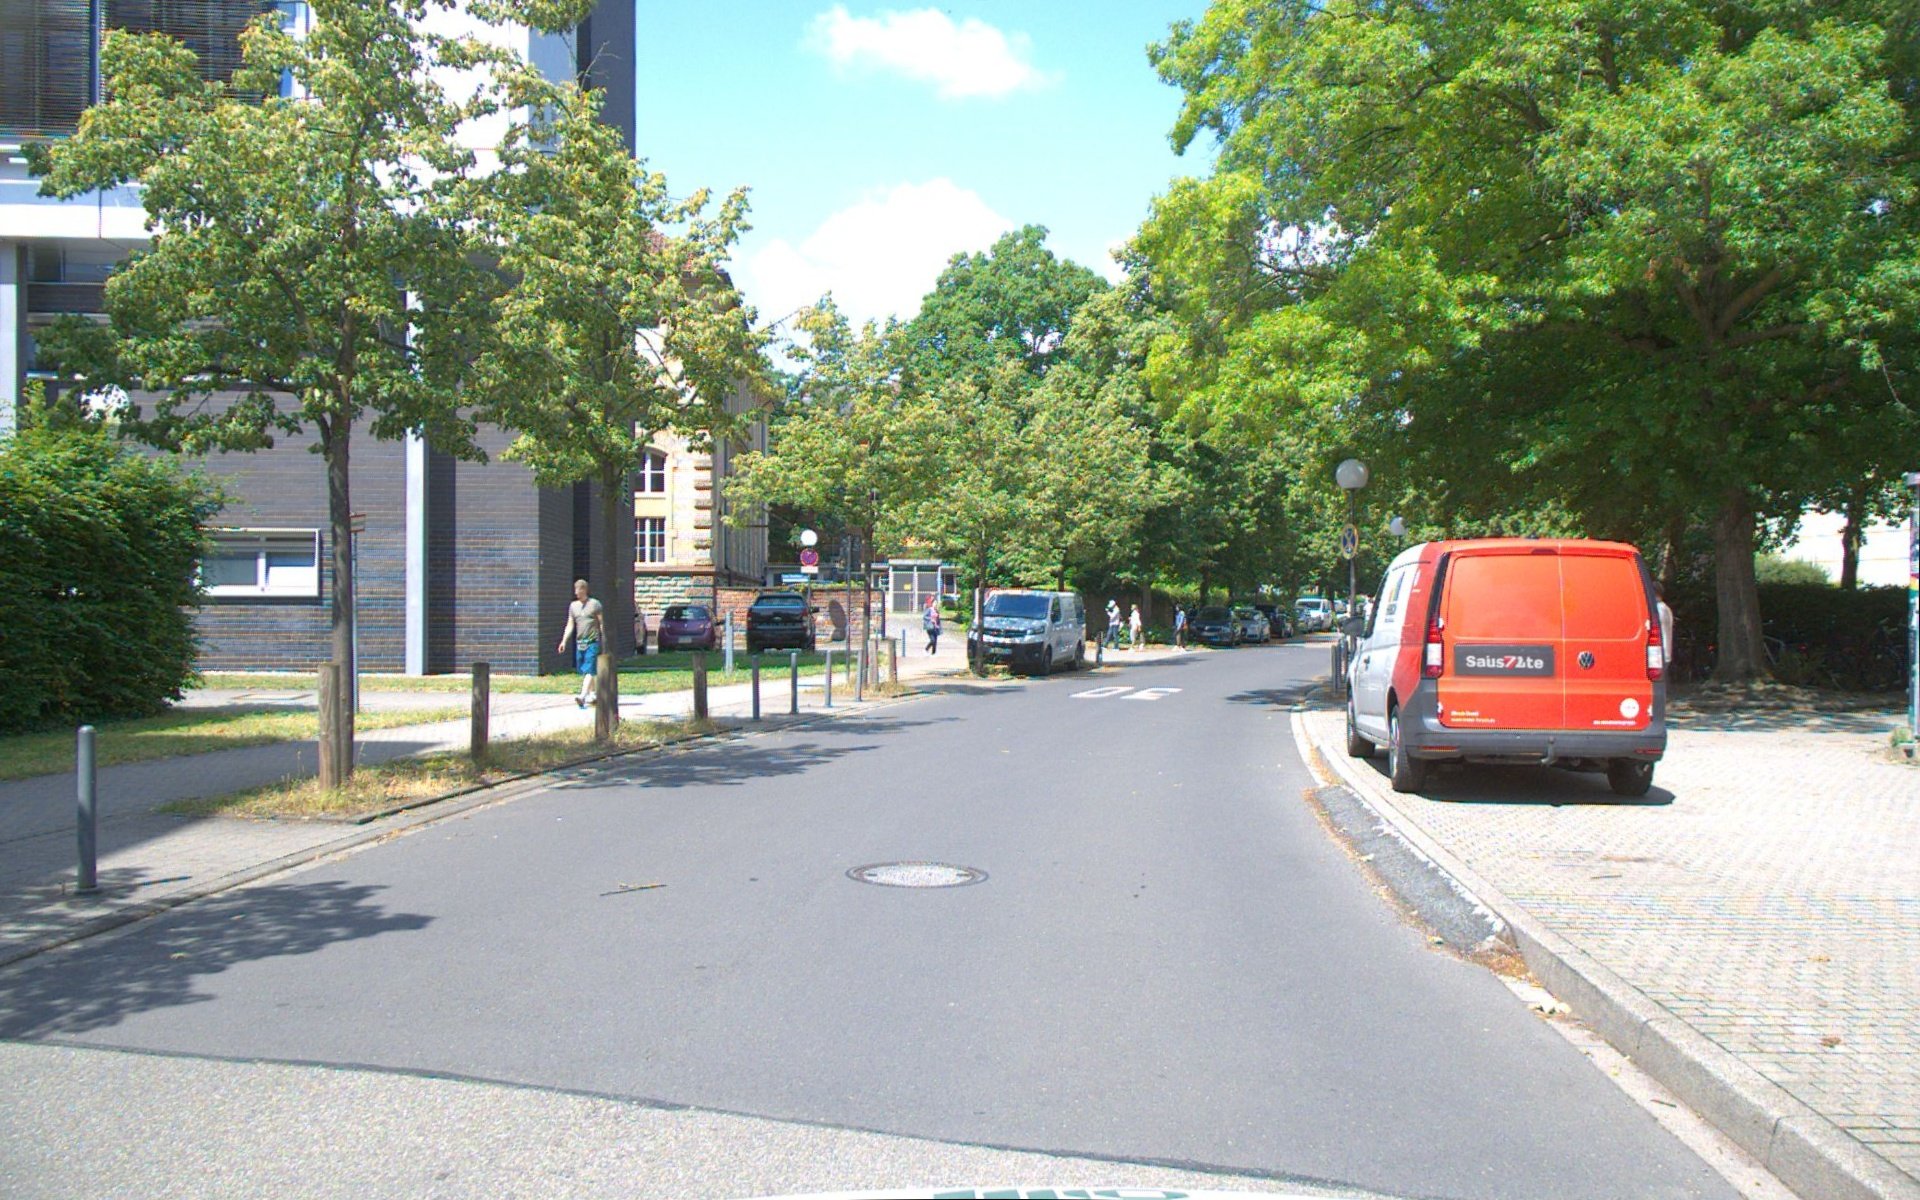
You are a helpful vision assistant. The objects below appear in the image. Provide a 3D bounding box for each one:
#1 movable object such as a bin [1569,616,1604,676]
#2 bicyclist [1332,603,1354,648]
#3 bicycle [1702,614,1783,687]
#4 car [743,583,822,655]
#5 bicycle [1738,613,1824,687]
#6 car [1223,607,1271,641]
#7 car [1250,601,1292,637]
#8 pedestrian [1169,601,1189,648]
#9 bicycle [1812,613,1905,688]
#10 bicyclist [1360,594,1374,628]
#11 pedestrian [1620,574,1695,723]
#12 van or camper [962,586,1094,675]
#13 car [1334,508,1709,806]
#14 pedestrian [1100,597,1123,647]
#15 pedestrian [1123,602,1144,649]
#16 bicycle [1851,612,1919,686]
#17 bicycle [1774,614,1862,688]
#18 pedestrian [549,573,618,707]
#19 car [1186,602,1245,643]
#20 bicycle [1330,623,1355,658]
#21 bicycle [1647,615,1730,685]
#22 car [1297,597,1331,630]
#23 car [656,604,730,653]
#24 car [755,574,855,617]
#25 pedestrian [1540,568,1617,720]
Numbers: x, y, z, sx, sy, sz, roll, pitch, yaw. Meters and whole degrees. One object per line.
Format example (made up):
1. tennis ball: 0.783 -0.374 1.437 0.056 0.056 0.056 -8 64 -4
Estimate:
1. movable object such as a bin: 11.607 0.853 30.637 0.479 1.091 0.505 0 0 4
2. bicyclist: 11.309 0.744 48.843 0.596 1.318 0.611 0 0 17
3. bicycle: 12.734 0.802 26.967 0.488 1.138 1.872 0 0 2
4. car: -5.080 0.522 47.609 2.133 1.959 5.180 0 0 -5
5. bicycle: 13.240 0.783 26.732 0.488 1.138 1.937 0 0 2
6. car: 12.602 1.037 72.383 1.581 1.412 4.002 0 0 17
7. car: 15.182 0.884 80.550 1.581 1.708 4.002 0 0 17
8. pedestrian: 7.612 0.857 57.395 0.489 1.613 0.489 0 -1 -32
9. bicycle: 14.317 0.785 26.403 0.488 1.138 1.940 0 0 2
10. bicyclist: 16.037 0.439 65.111 0.511 1.318 0.611 0 0 17
11. pedestrian: 8.327 0.569 19.747 0.738 1.740 0.556 0 -1 -39
12. van or camper: 1.732 0.681 39.805 1.912 1.957 5.423 1 0 16
13. car: 4.196 0.374 13.210 1.809 1.924 4.894 -1 0 6
14. pedestrian: 5.202 0.754 56.899 0.617 1.692 0.600 0 0 -19
15. pedestrian: 5.850 0.858 55.712 0.574 1.554 0.492 0 0 -17
16. bicycle: 14.969 0.762 26.439 0.488 1.138 1.872 0 0 2
17. bicycle: 13.760 0.799 26.579 0.488 1.138 1.872 0 0 2
18. pedestrian: -5.166 0.541 22.753 0.571 1.795 0.912 0 0 14
19. car: 10.104 0.869 65.161 1.723 1.548 4.114 0 0 17
20. bicycle: 11.288 1.187 48.776 0.601 1.018 1.424 0 0 17
21. bicycle: 12.169 0.818 27.685 0.606 1.138 1.872 0 0 2
22. car: 20.392 0.784 95.101 1.581 1.847 4.002 0 0 17
23. car: -7.604 0.800 47.406 1.781 1.347 3.764 0 0 -4
24. car: -6.917 -0.201 73.677 4.096 1.855 1.988 0 0 -21
25. pedestrian: 7.706 0.541 20.610 0.717 1.853 0.621 0 -1 -39
